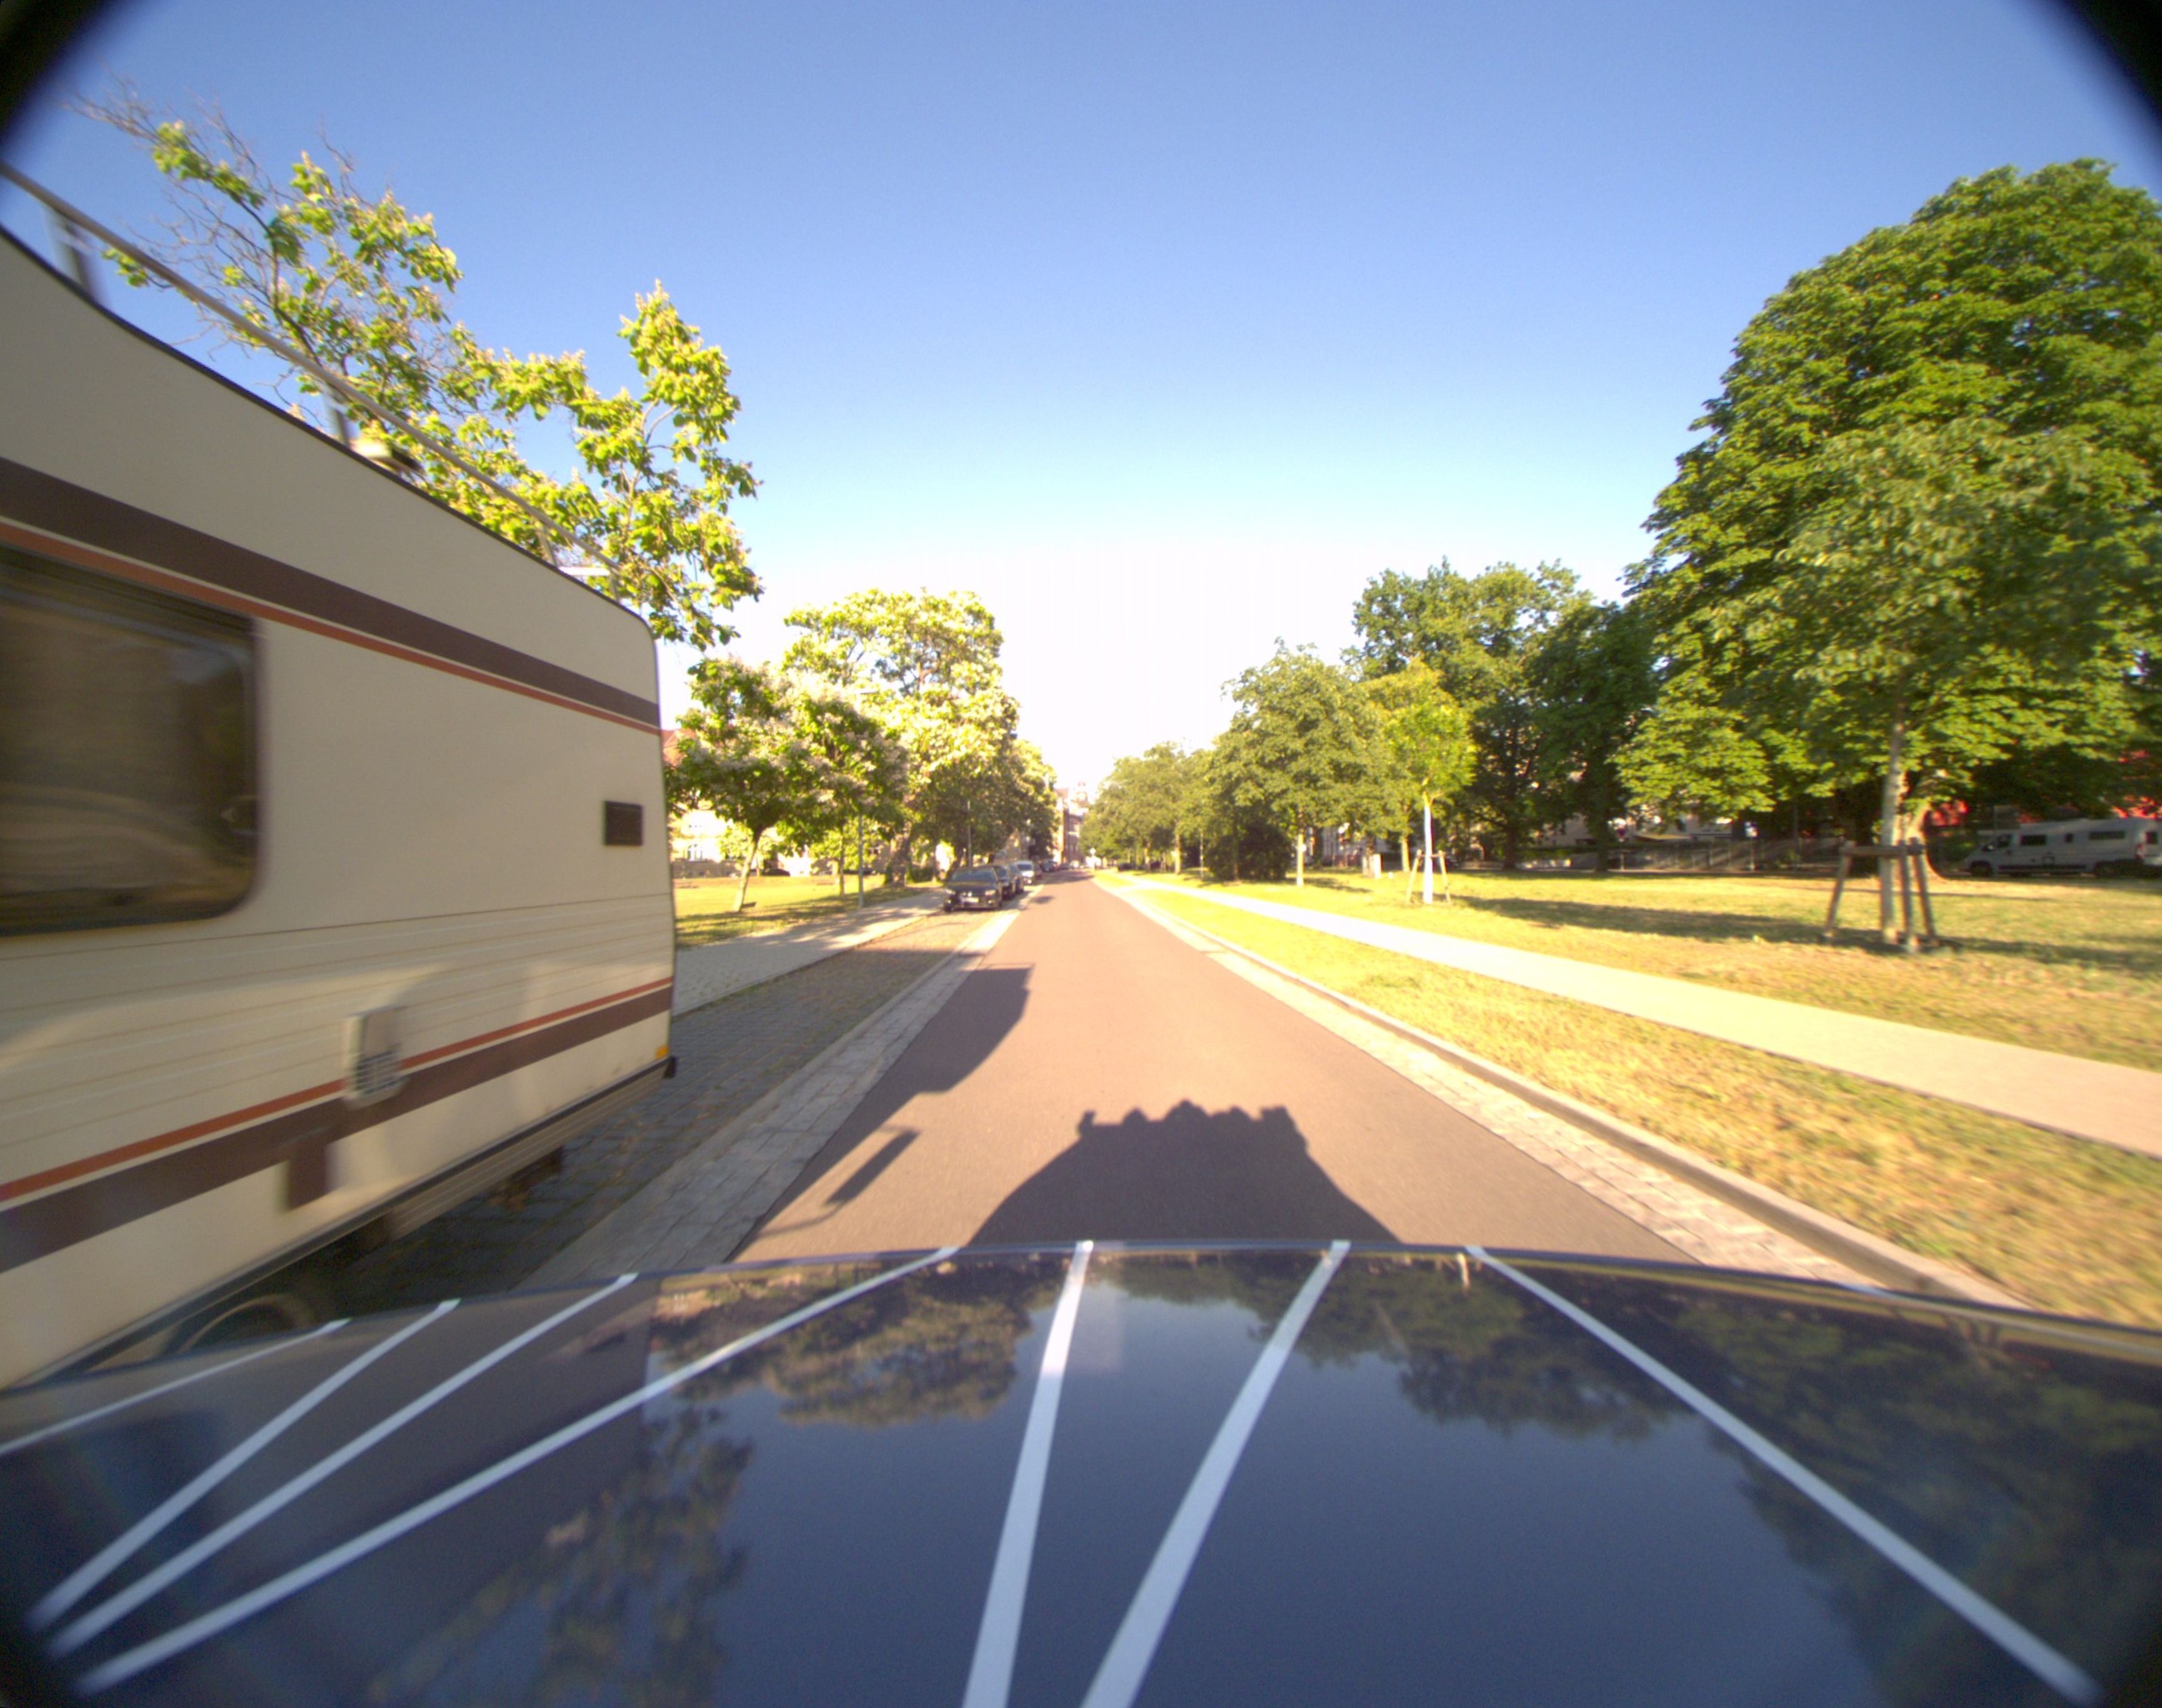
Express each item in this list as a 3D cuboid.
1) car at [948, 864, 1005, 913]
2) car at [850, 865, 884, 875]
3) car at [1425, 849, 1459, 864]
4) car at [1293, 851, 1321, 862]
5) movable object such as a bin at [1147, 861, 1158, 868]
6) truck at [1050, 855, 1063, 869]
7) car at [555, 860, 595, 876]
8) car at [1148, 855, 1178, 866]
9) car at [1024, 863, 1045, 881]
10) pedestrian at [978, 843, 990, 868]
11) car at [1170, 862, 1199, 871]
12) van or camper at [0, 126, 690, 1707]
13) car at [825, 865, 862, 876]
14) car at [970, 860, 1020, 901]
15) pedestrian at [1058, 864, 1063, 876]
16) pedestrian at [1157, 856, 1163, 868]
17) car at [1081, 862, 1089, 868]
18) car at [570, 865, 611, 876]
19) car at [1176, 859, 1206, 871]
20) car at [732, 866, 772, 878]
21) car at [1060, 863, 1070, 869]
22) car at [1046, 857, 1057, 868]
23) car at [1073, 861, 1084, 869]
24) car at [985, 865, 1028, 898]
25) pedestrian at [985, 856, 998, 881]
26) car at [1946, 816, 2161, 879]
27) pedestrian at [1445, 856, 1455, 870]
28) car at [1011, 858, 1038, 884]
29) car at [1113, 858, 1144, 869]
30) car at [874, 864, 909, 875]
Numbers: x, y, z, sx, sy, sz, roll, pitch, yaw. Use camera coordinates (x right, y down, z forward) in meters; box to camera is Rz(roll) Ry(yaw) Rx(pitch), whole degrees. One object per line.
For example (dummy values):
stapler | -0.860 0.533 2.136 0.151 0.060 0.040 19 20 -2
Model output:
car | -3.409 1.095 25.431 1.631 1.455 4.247 0 0 -4
car | -29.620 2.242 105.270 4.459 1.316 1.502 0 0 -23
car | 40.709 0.298 85.801 1.999 1.608 3.738 -1 0 -1
car | 34.838 0.385 117.160 2.004 1.608 3.728 -1 0 -41
movable object such as a bin | 9.701 1.409 102.966 1.332 0.984 0.950 0 0 2
truck | -4.619 1.450 143.111 2.133 2.549 6.877 0 0 1
car | -72.270 1.968 108.505 1.814 2.095 4.381 0 0 36
car | 12.219 0.919 113.238 4.005 1.565 1.886 -1 2 -26
car | -4.130 1.575 67.950 1.683 1.477 4.809 0 0 -1
pedestrian | -6.829 0.103 53.599 0.727 1.725 0.731 -1 0 0
car | 16.525 2.006 121.334 4.282 1.392 1.836 0 0 -23
van or camper | -2.918 0.230 0.726 2.240 2.887 5.671 0 1 -2
car | -30.726 2.098 98.295 4.444 1.409 1.563 0 0 -24
car | -3.553 1.059 32.013 1.736 1.541 4.421 0 0 -2
pedestrian | -3.290 2.565 121.519 0.778 1.758 0.955 -1 0 0
pedestrian | 10.691 1.061 102.977 0.663 1.686 0.672 -1 0 1
car | 1.096 3.002 203.929 1.582 1.499 3.848 0 0 6
car | -67.432 2.296 104.521 1.814 1.409 4.380 0 0 34
car | 16.684 1.663 115.361 4.004 1.565 1.887 -1 2 -22
car | -40.334 2.232 93.182 4.379 1.409 1.815 0 0 -31
car | -3.506 2.625 166.556 1.610 1.349 3.549 0 0 5
car | -4.671 1.433 121.115 1.707 1.616 4.349 2 -1 -1
car | -0.619 2.711 194.824 2.118 1.942 4.763 0 0 6
car | -3.705 1.347 38.265 1.736 1.541 4.275 0 0 0
pedestrian | -6.181 1.012 52.370 0.755 1.725 0.731 -1 0 0
car | 42.131 -0.240 32.608 2.728 2.449 6.317 0 0 -2
pedestrian | 27.598 0.664 56.811 0.549 0.981 0.610 0 0 10
car | -3.932 1.172 53.681 1.683 1.729 4.513 0 0 -1
car | 6.877 1.391 110.387 4.005 1.565 1.886 -1 2 -26
car | -25.117 2.094 100.623 4.371 1.409 1.842 0 0 -21
